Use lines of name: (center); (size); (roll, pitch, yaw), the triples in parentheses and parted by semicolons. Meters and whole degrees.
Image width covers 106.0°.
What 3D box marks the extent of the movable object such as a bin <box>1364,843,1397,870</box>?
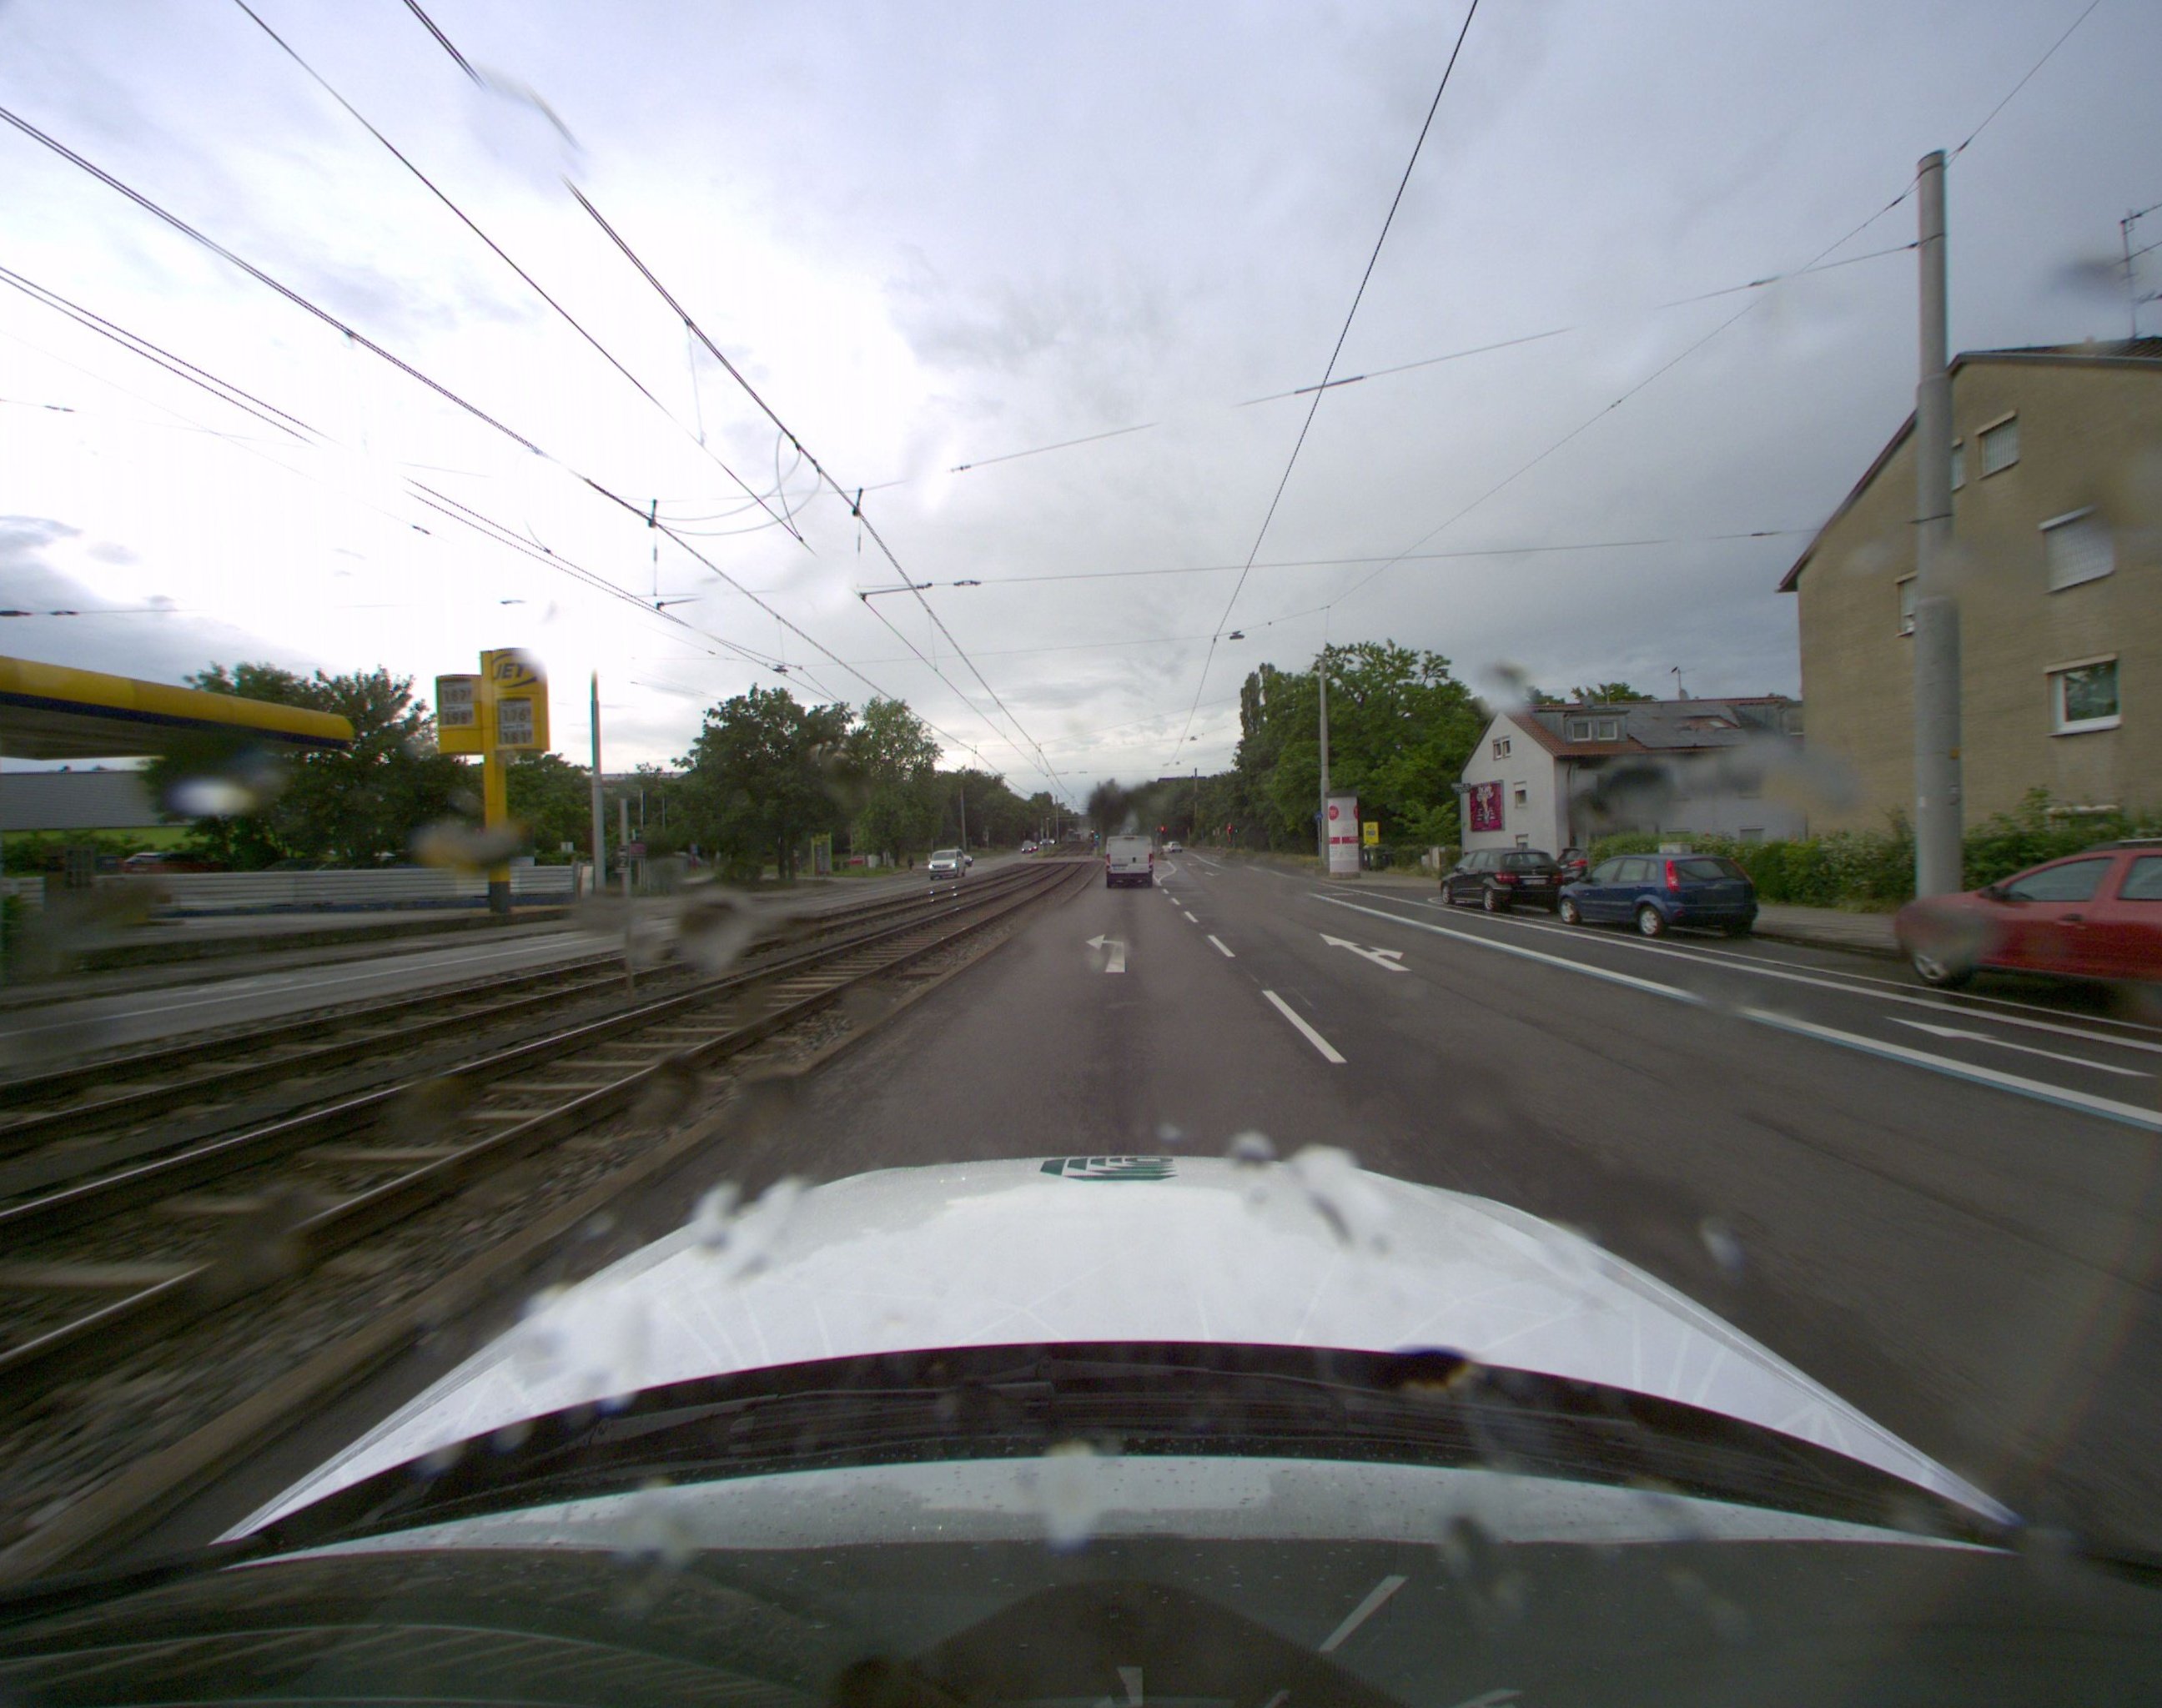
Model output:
movable object such as a bin: (16.345, 0.153, 44.484); (1.306, 1.418, 1.300); (0, -1, 0)

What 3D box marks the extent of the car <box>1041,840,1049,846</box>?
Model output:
car: (-8.137, -2.489, 184.392); (1.596, 1.401, 3.792); (0, 2, 0)

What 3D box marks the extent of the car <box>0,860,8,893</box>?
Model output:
car: (-53.967, 1.103, 38.358); (1.684, 1.618, 3.992); (0, -1, -5)

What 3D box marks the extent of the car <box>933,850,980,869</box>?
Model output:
car: (-13.164, 0.586, 86.077); (4.697, 1.649, 2.013); (-3, 1, 36)

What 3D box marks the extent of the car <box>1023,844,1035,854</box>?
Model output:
car: (-8.208, -0.810, 127.770); (1.596, 1.401, 3.792); (0, 2, 0)

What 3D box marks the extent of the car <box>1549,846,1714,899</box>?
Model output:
car: (18.558, 0.612, 27.628); (4.251, 1.655, 1.883); (1, -1, 6)

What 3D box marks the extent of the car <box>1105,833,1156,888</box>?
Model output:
car: (2.209, 0.268, 37.188); (2.138, 2.283, 5.066); (-1, 0, 2)

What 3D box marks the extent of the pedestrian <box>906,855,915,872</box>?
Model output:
pedestrian: (-14.767, 0.817, 70.600); (0.588, 1.532, 0.669); (0, -1, 2)

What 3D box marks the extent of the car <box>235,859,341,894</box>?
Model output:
car: (-40.280, 1.117, 41.516); (1.684, 1.651, 3.992); (0, -1, -5)

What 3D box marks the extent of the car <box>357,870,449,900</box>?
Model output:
car: (-35.111, 1.574, 42.317); (1.684, 1.456, 3.992); (0, -1, -5)

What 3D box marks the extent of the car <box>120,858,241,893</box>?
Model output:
car: (-44.228, 1.059, 40.138); (1.684, 1.618, 3.992); (0, -1, -5)

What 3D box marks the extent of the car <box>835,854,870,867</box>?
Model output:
car: (-28.343, 0.847, 101.268); (3.963, 1.533, 1.838); (0, 0, -8)

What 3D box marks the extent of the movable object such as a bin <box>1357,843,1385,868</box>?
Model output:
movable object such as a bin: (16.388, 0.102, 45.986); (1.180, 1.418, 1.135); (0, -1, 0)

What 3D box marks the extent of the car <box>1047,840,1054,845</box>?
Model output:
car: (-7.829, -2.927, 206.208); (1.596, 1.401, 3.792); (0, 2, 0)

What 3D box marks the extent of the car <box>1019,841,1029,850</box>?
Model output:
car: (-11.438, -1.691, 163.784); (1.713, 1.553, 3.863); (-4, 2, 0)

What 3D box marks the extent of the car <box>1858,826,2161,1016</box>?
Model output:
car: (10.225, 0.567, 7.781); (1.829, 1.628, 4.103); (0, 0, 3)

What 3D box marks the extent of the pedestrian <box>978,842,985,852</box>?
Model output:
pedestrian: (-17.030, -1.179, 139.542); (1.011, 1.600, 1.038); (-2, 1, -5)

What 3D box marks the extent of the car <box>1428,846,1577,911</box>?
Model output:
car: (10.906, 0.564, 21.469); (1.829, 1.533, 4.442); (0, 0, 3)

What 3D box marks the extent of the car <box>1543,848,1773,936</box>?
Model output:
car: (10.649, 0.640, 15.421); (1.661, 1.444, 3.930); (0, 0, 2)

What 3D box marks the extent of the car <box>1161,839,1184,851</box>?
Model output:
car: (12.068, -1.246, 107.650); (1.707, 1.521, 3.772); (-1, 2, -16)

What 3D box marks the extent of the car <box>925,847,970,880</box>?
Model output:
car: (-9.185, 0.612, 56.639); (1.986, 2.013, 5.062); (-4, 0, 2)
